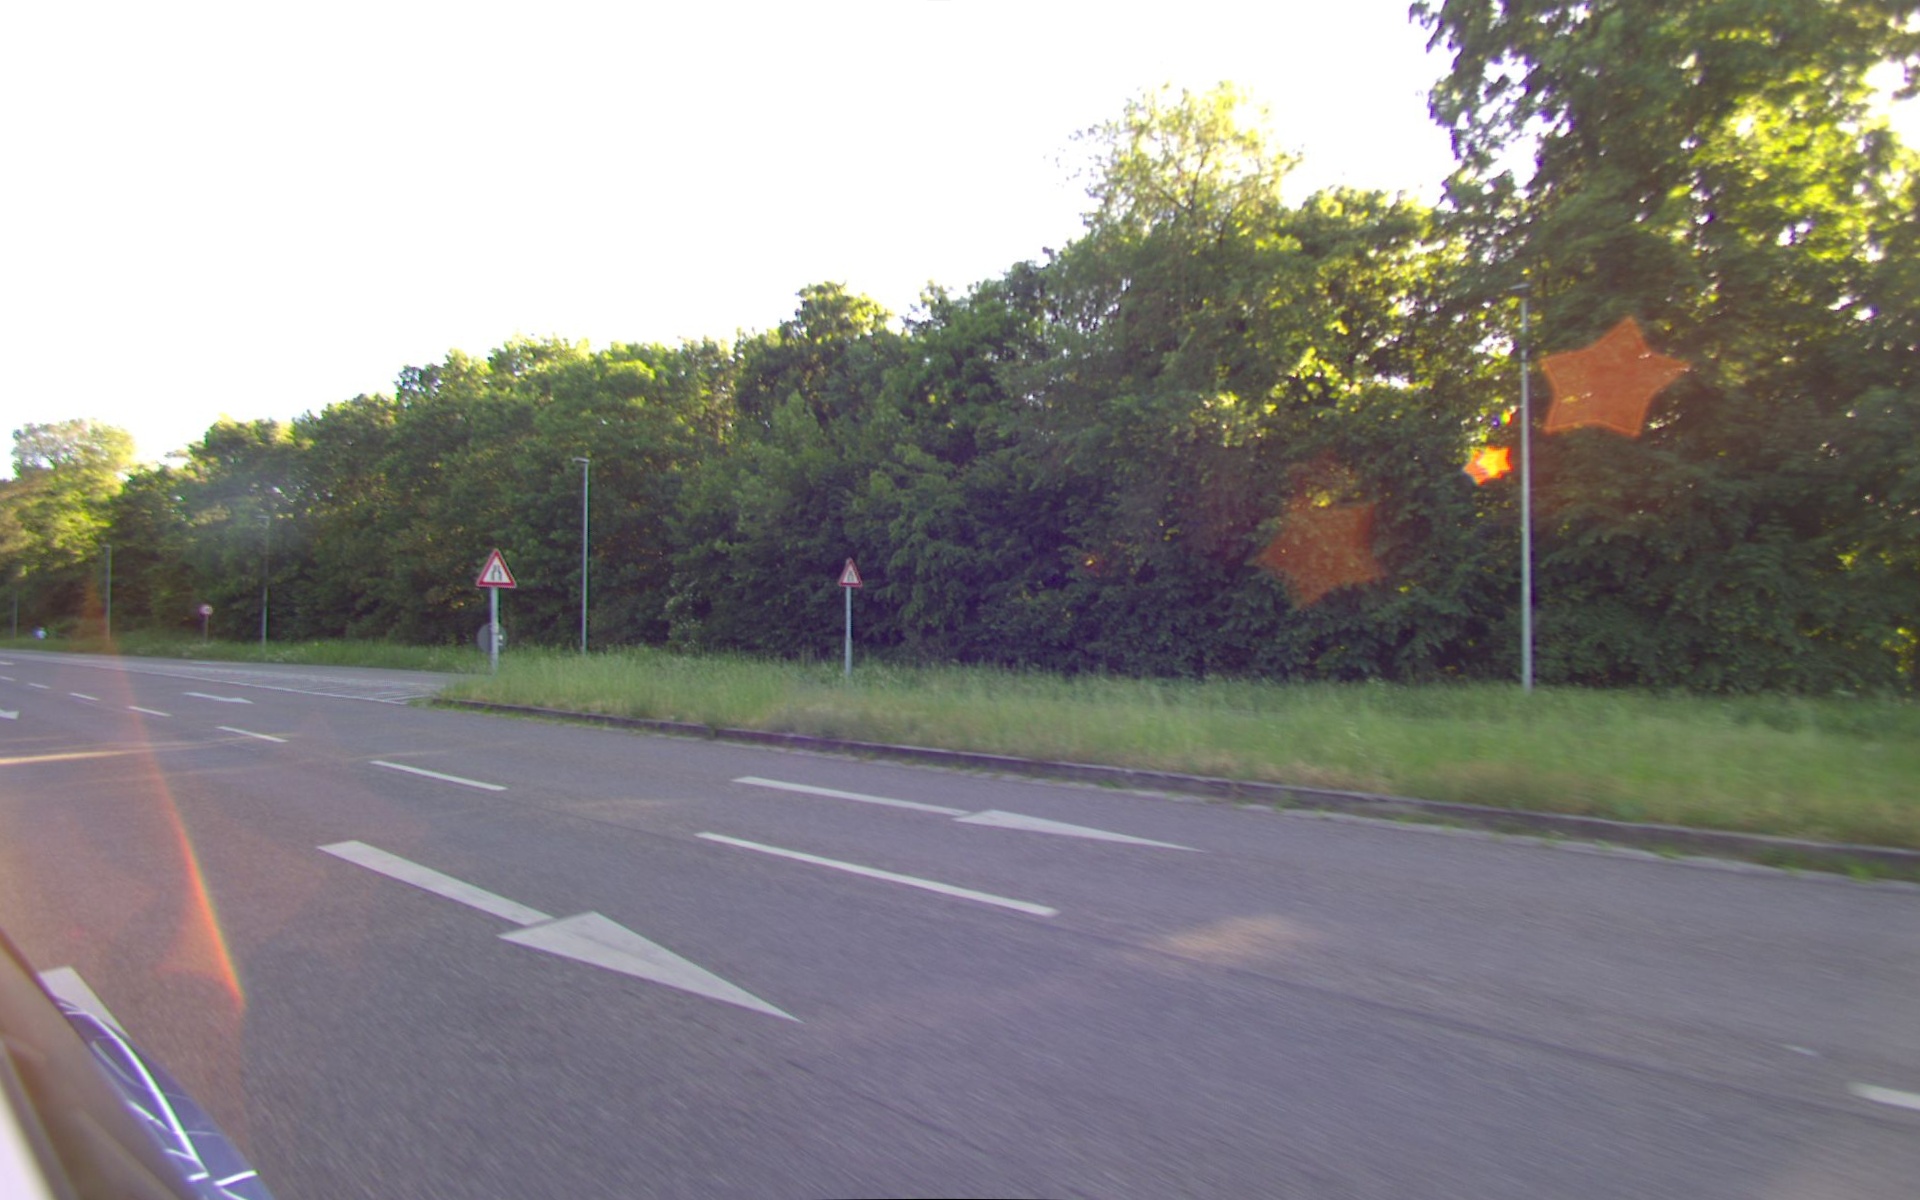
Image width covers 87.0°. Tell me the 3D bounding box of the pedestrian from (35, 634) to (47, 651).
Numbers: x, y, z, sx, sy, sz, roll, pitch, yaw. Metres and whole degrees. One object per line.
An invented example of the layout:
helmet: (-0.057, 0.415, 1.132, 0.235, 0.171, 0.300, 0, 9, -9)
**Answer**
pedestrian: (-84.792, 3.916, 93.371, 0.825, 1.577, 0.704, -2, -4, 40)
